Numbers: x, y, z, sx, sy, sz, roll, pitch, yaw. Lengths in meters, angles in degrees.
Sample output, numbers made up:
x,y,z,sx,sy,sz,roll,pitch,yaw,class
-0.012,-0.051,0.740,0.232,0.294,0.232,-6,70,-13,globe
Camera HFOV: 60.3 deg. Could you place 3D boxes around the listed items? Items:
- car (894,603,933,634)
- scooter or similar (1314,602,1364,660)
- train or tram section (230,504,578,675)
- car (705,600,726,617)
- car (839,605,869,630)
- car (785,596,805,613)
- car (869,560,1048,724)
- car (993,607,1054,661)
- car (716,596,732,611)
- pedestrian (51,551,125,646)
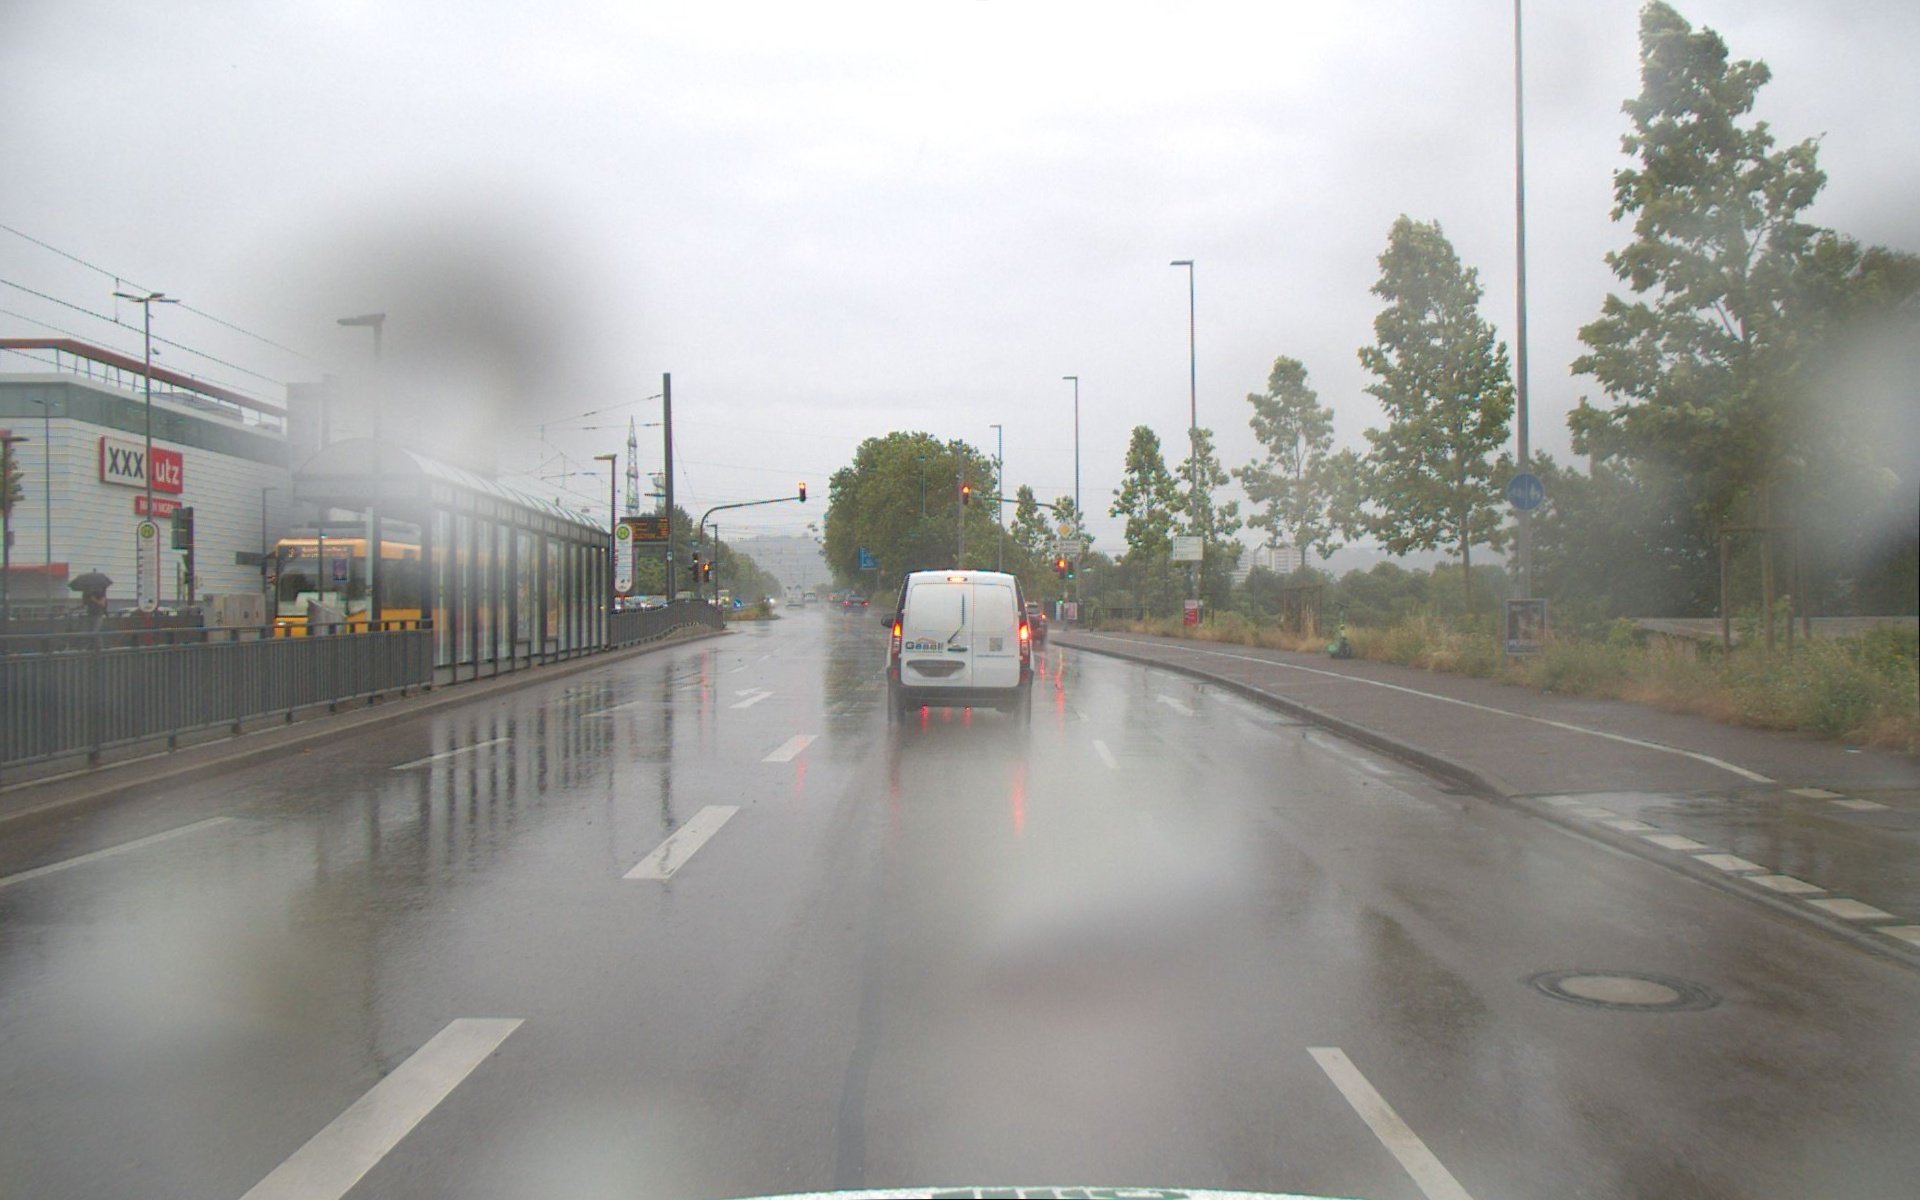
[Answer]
x,y,z,sx,sy,sz,roll,pitch,yaw,class
-2.869,1.110,100.634,1.956,1.780,3.993,1,0,-8,car
8.224,0.660,35.967,0.630,1.216,1.561,0,0,-4,scooter or similar
-16.810,-0.193,54.268,3.695,4.107,27.073,1,0,-3,train or tram section
-30.157,1.089,204.008,1.952,2.049,4.000,1,0,1,car
-8.110,1.322,126.555,1.956,1.780,3.993,1,0,-8,car
-17.253,0.460,172.583,1.956,1.780,3.993,1,0,-8,car
-0.012,0.492,20.863,1.983,1.806,4.274,1,0,0,car
2.177,1.160,57.572,1.952,1.780,4.000,1,0,1,car
-35.544,0.531,249.022,1.954,2.049,3.997,1,0,-4,car
-19.360,-0.022,36.734,1.067,2.049,1.094,1,-1,-7,pedestrian
